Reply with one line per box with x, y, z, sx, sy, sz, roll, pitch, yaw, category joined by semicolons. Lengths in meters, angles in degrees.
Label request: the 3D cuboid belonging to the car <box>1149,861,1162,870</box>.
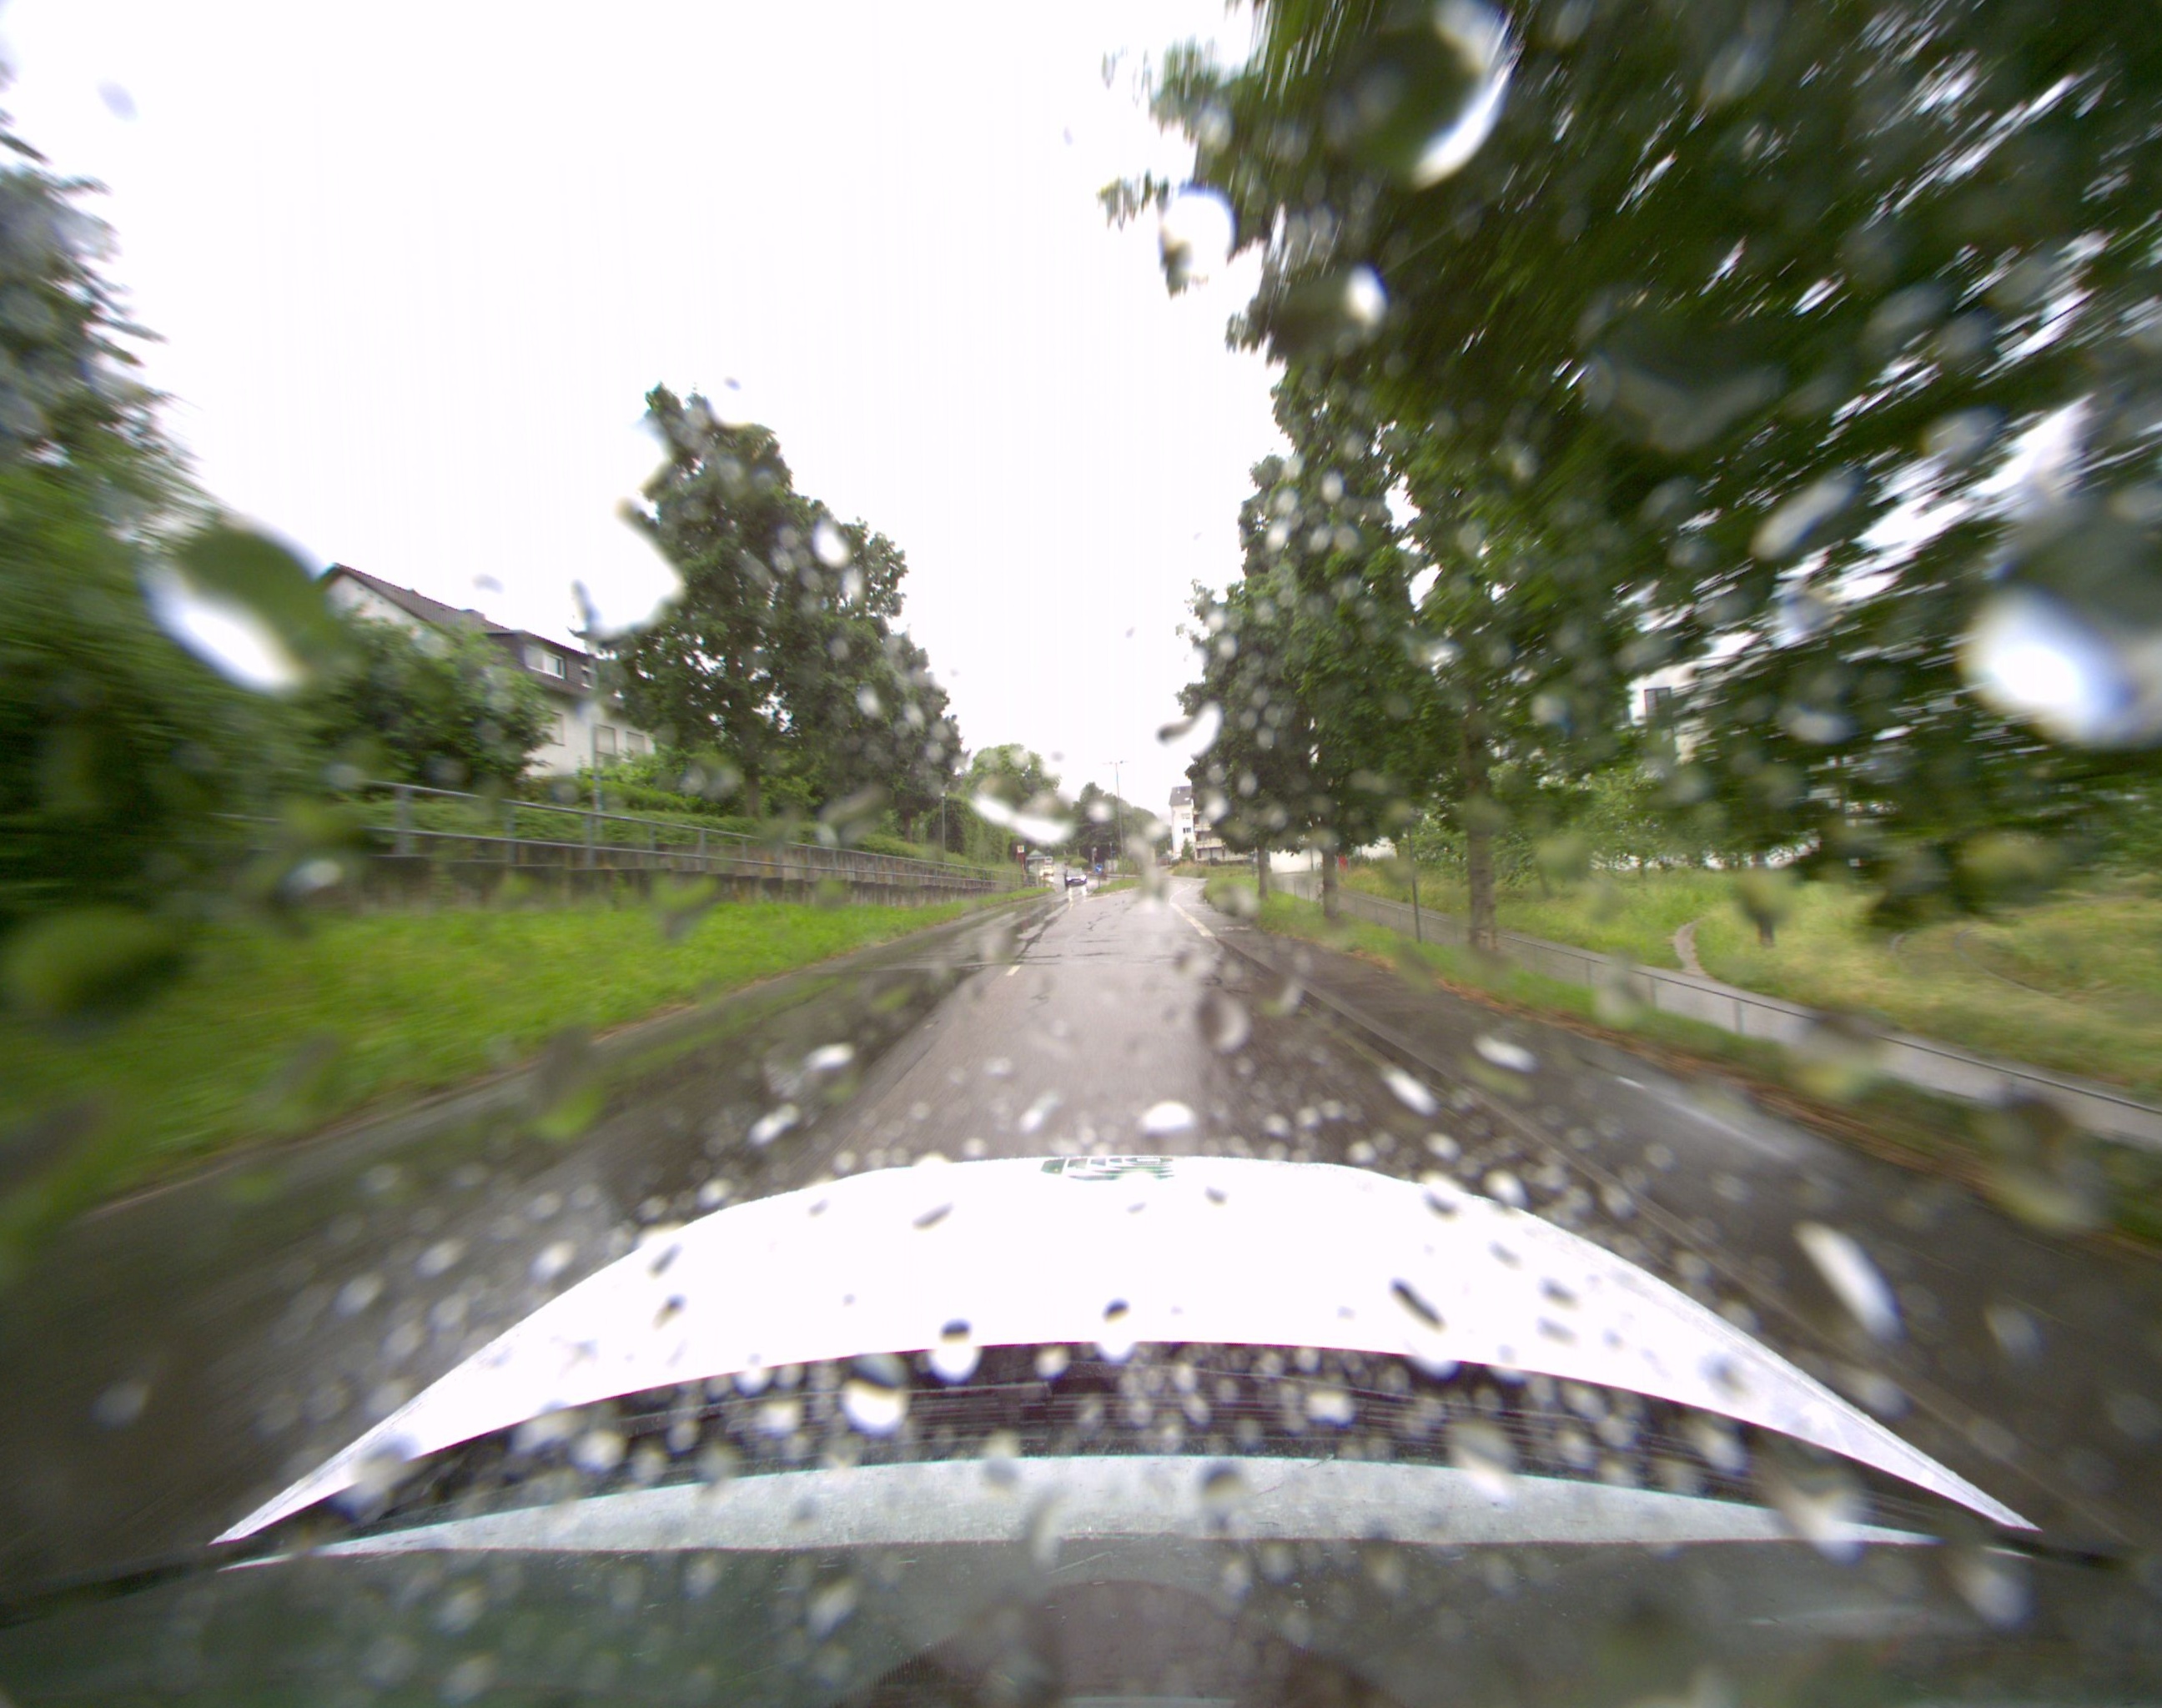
13.578;2.109;149.312;1.686;1.438;3.605;-3;1;-5;car

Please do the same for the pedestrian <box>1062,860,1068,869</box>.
-2.973;1.996;154.001;0.918;1.675;1.055;-5;1;-5;pedestrian

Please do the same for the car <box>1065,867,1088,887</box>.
-0.371;1.898;68.873;1.755;1.503;4.141;-5;-1;0;car

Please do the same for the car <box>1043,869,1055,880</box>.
-4.523;2.865;115.907;1.569;1.410;3.470;-5;-1;-3;car
